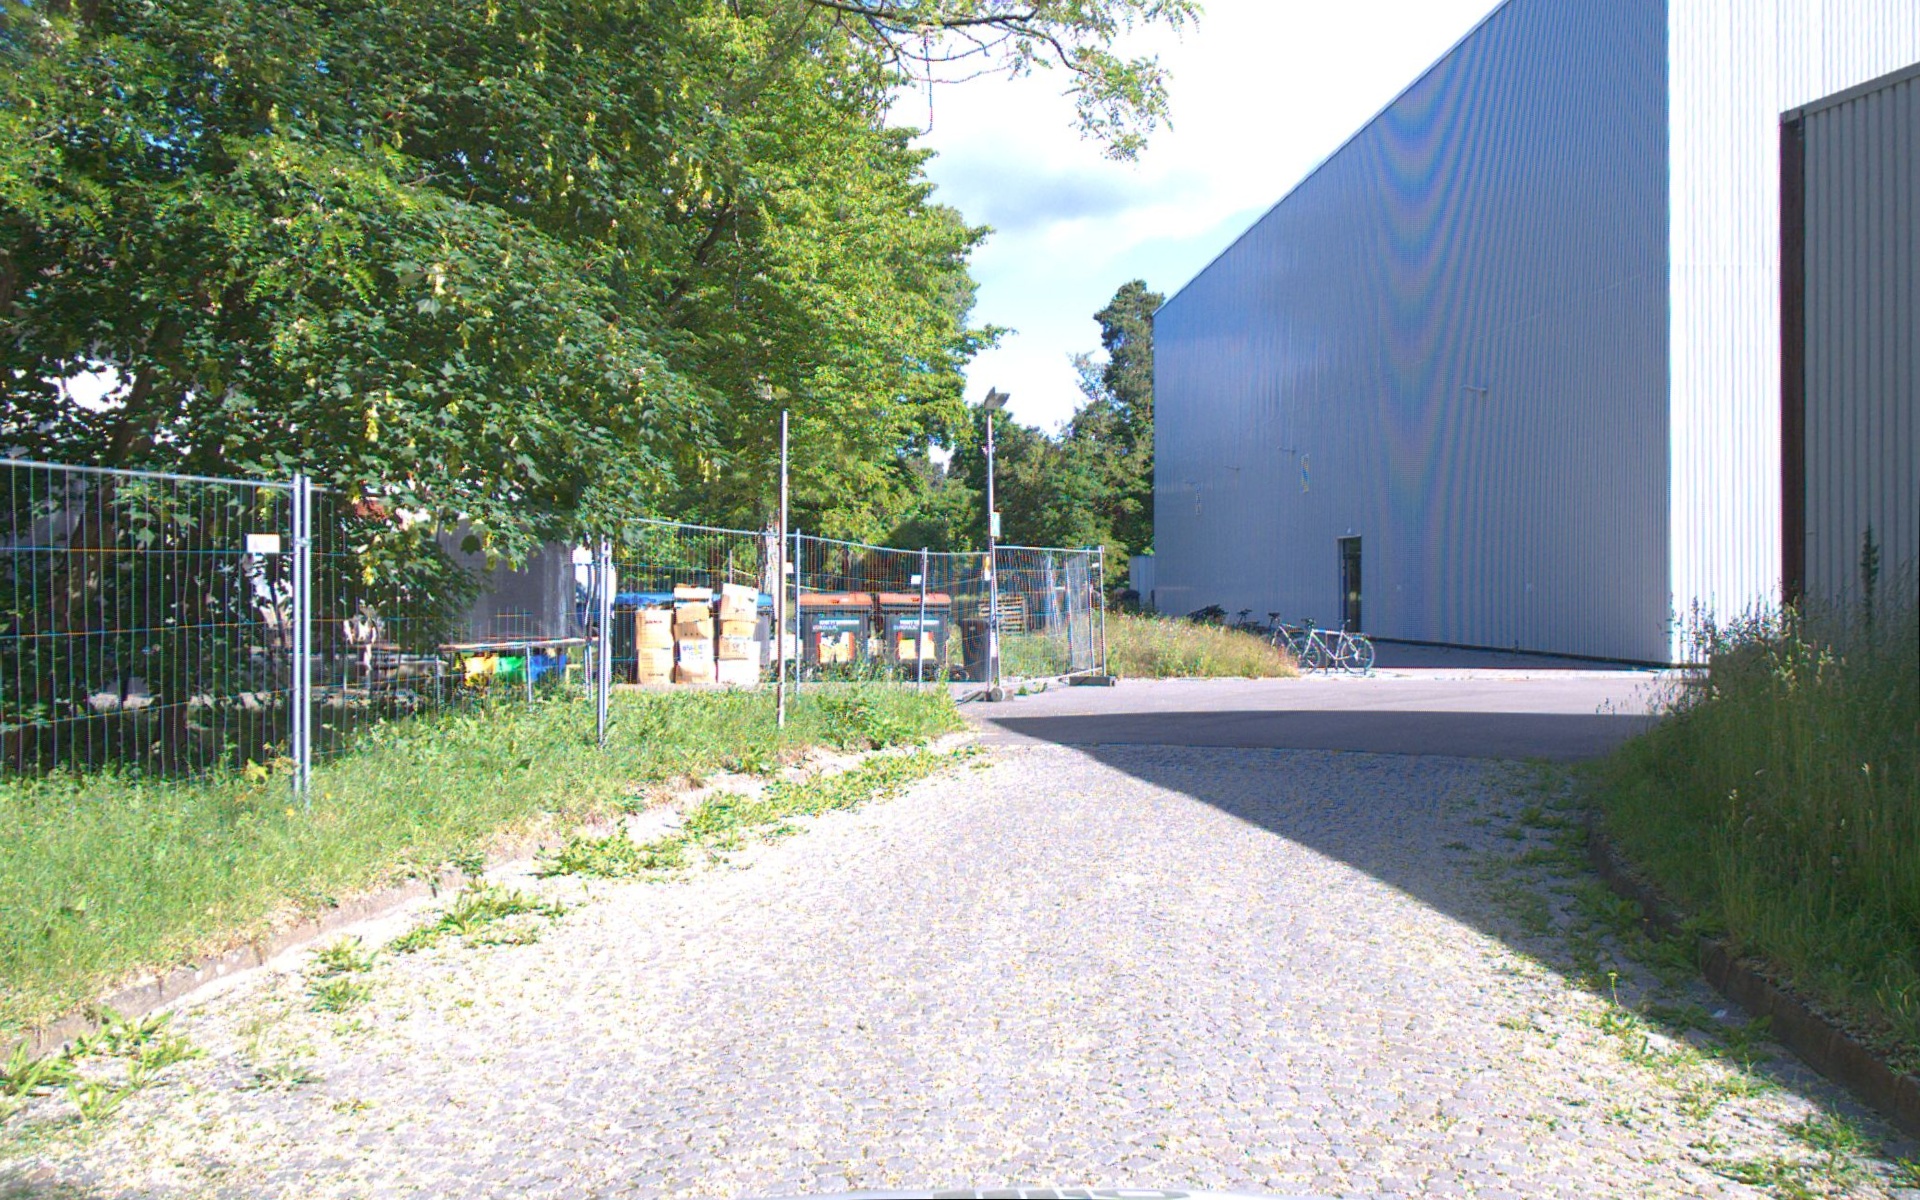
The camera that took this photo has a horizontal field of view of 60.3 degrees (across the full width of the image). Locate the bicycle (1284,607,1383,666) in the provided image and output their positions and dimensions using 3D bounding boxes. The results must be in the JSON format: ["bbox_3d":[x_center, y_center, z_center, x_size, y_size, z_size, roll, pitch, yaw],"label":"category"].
[{"bbox_3d":[6.990,0.676,30.958,1.766,1.080,0.458,0,0,-10],"label":"bicycle"}]

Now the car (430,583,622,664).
[{"bbox_3d":[-11.351,0.595,43.555,4.623,1.935,1.996,-2,0,-9],"label":"car"}]

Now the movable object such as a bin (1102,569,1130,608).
[{"bbox_3d":[8.291,-0.611,87.889,1.389,2.049,1.125,0,0,0],"label":"movable object such as a bin"}]

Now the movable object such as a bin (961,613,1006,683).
[{"bbox_3d":[0.378,0.784,27.417,0.721,1.116,0.819,0,0,-1],"label":"movable object such as a bin"}]

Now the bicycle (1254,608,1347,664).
[{"bbox_3d":[6.894,0.728,33.528,1.756,1.101,0.524,0,0,-3],"label":"bicycle"}]

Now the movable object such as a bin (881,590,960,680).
[{"bbox_3d":[-0.666,0.566,27.543,1.222,1.470,0.701,0,0,-10],"label":"movable object such as a bin"}]

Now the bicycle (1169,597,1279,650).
[{"bbox_3d":[6.632,0.583,41.704,2.576,1.288,1.141,0,0,0],"label":"bicycle"}]

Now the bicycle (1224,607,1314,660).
[{"bbox_3d":[6.729,0.720,36.073,1.851,1.114,0.525,-1,-1,-6],"label":"bicycle"}]

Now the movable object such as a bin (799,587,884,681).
[{"bbox_3d":[-1.971,0.549,27.396,1.313,1.510,0.805,0,0,-11],"label":"movable object such as a bin"}]

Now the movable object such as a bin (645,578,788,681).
[{"bbox_3d":[-3.973,0.462,26.929,2.247,1.619,1.171,0,0,-11],"label":"movable object such as a bin"}]
